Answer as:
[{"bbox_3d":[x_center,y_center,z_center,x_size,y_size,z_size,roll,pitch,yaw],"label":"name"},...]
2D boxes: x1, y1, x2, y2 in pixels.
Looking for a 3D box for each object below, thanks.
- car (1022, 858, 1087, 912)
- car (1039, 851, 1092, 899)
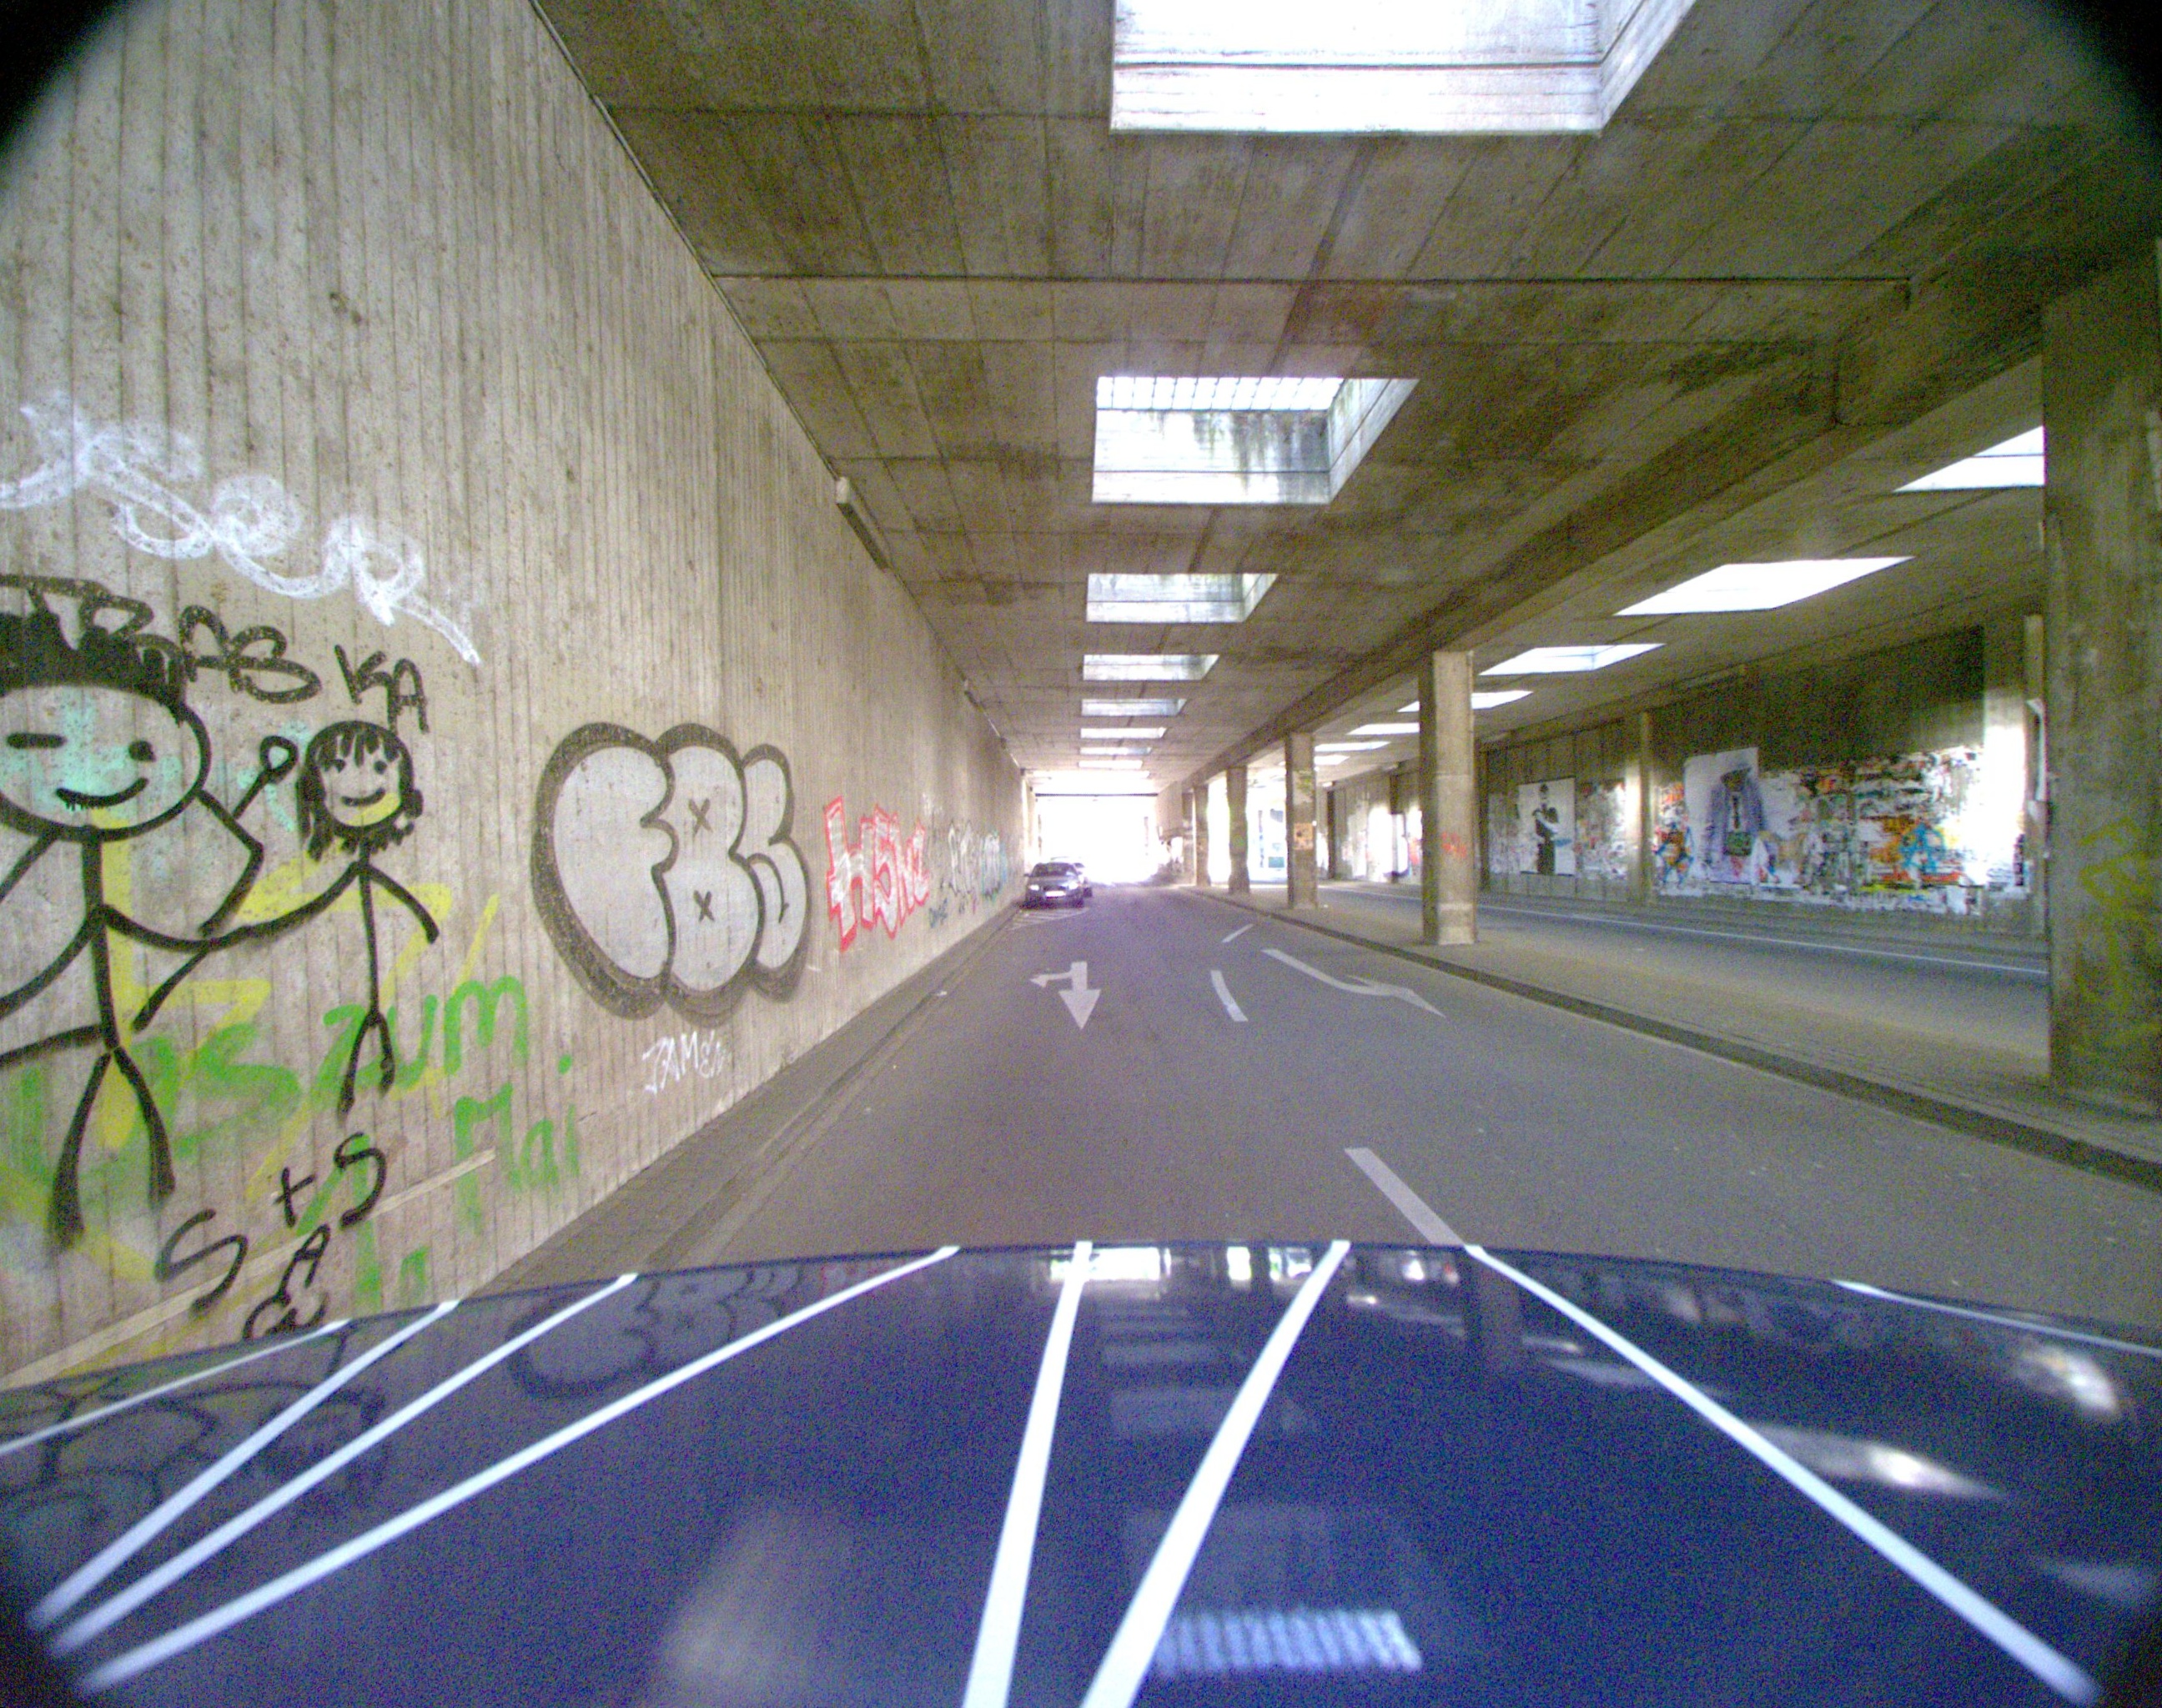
[{"bbox_3d":[-0.746,0.906,24.060,1.808,1.460,4.000,-2,0,1],"label":"car"},{"bbox_3d":[-0.544,0.754,29.777,1.861,1.709,4.000,-2,0,1],"label":"car"}]
